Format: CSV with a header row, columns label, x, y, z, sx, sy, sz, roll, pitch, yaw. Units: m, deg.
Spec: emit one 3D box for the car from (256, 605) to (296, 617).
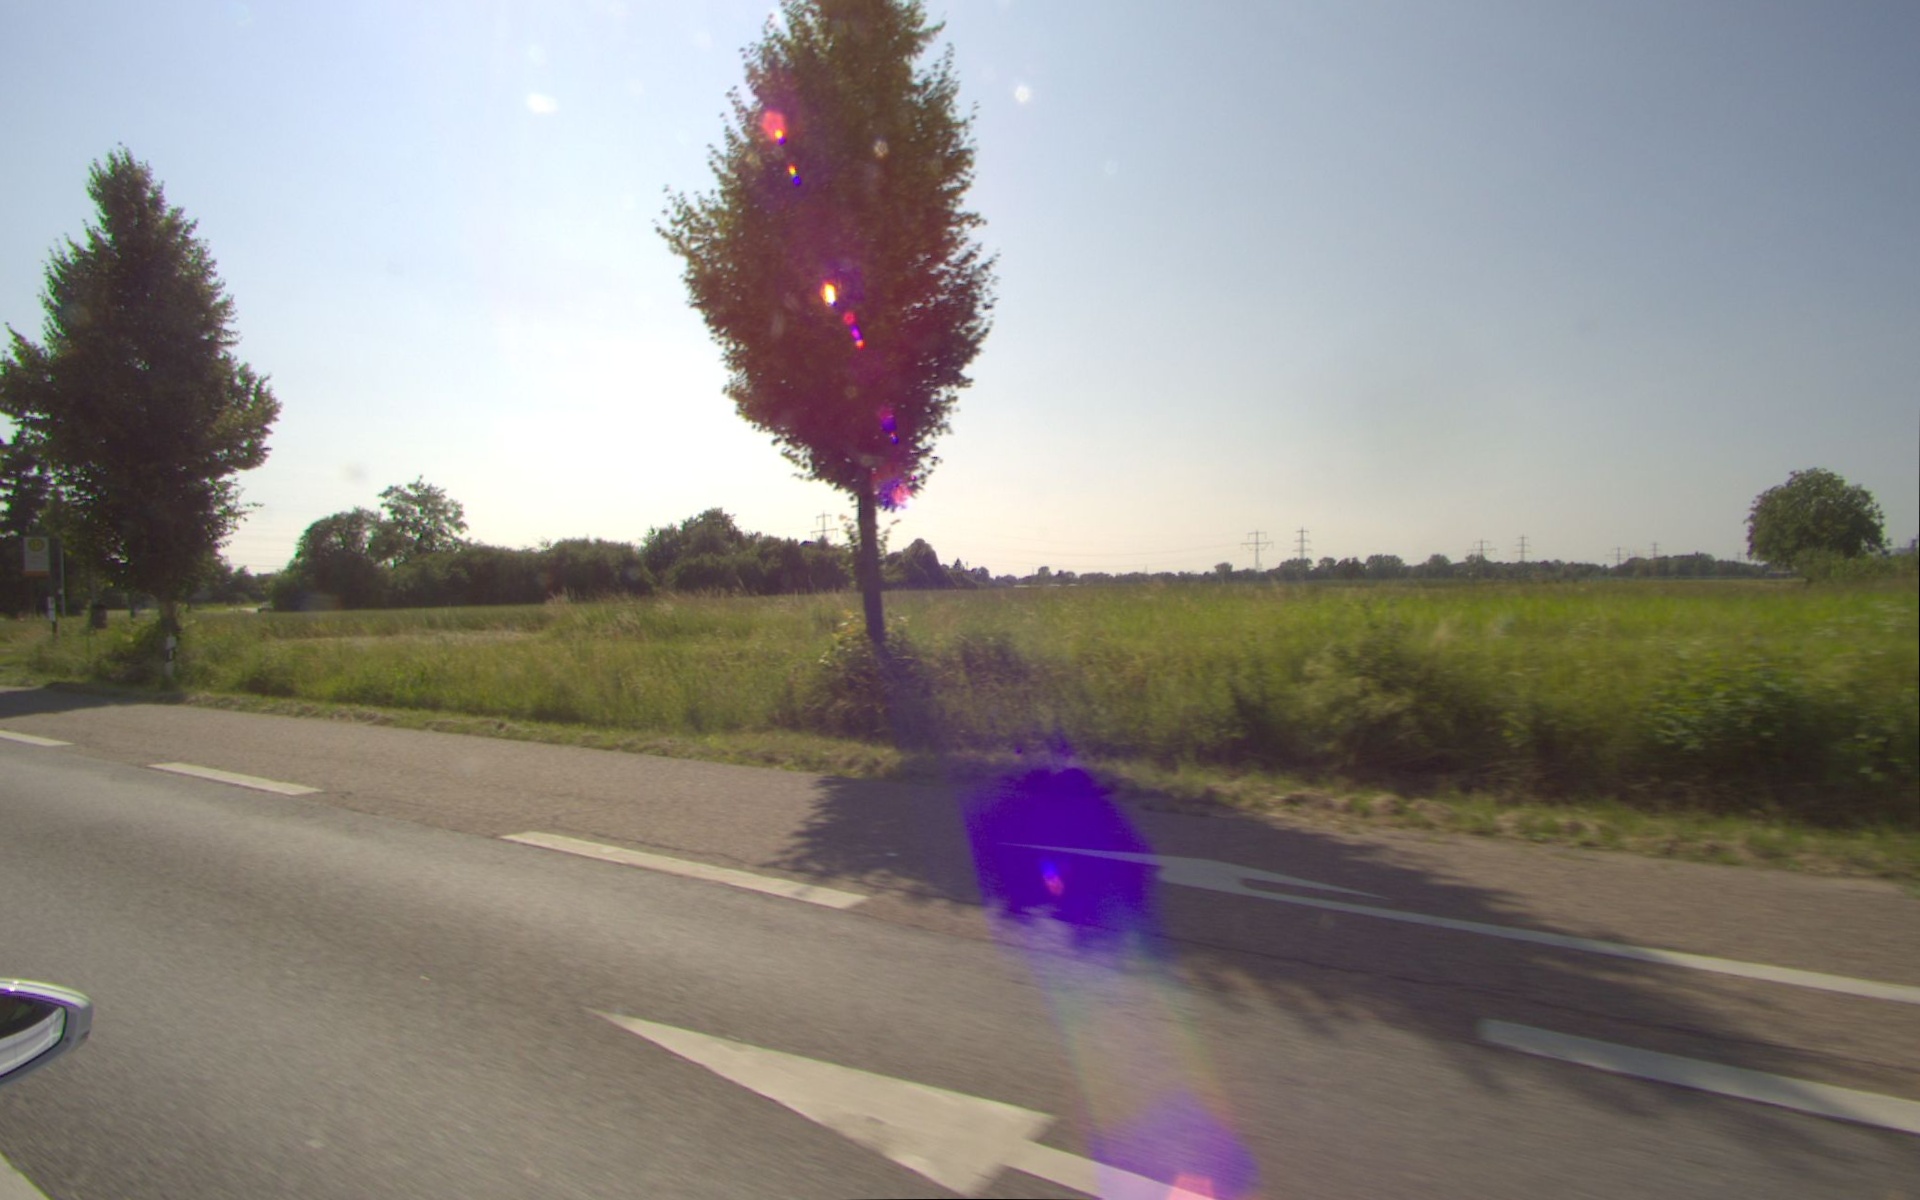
label,x,y,z,sx,sy,sz,roll,pitch,yaw
car,-82.885,1.352,121.450,1.649,1.417,3.997,0,0,10
